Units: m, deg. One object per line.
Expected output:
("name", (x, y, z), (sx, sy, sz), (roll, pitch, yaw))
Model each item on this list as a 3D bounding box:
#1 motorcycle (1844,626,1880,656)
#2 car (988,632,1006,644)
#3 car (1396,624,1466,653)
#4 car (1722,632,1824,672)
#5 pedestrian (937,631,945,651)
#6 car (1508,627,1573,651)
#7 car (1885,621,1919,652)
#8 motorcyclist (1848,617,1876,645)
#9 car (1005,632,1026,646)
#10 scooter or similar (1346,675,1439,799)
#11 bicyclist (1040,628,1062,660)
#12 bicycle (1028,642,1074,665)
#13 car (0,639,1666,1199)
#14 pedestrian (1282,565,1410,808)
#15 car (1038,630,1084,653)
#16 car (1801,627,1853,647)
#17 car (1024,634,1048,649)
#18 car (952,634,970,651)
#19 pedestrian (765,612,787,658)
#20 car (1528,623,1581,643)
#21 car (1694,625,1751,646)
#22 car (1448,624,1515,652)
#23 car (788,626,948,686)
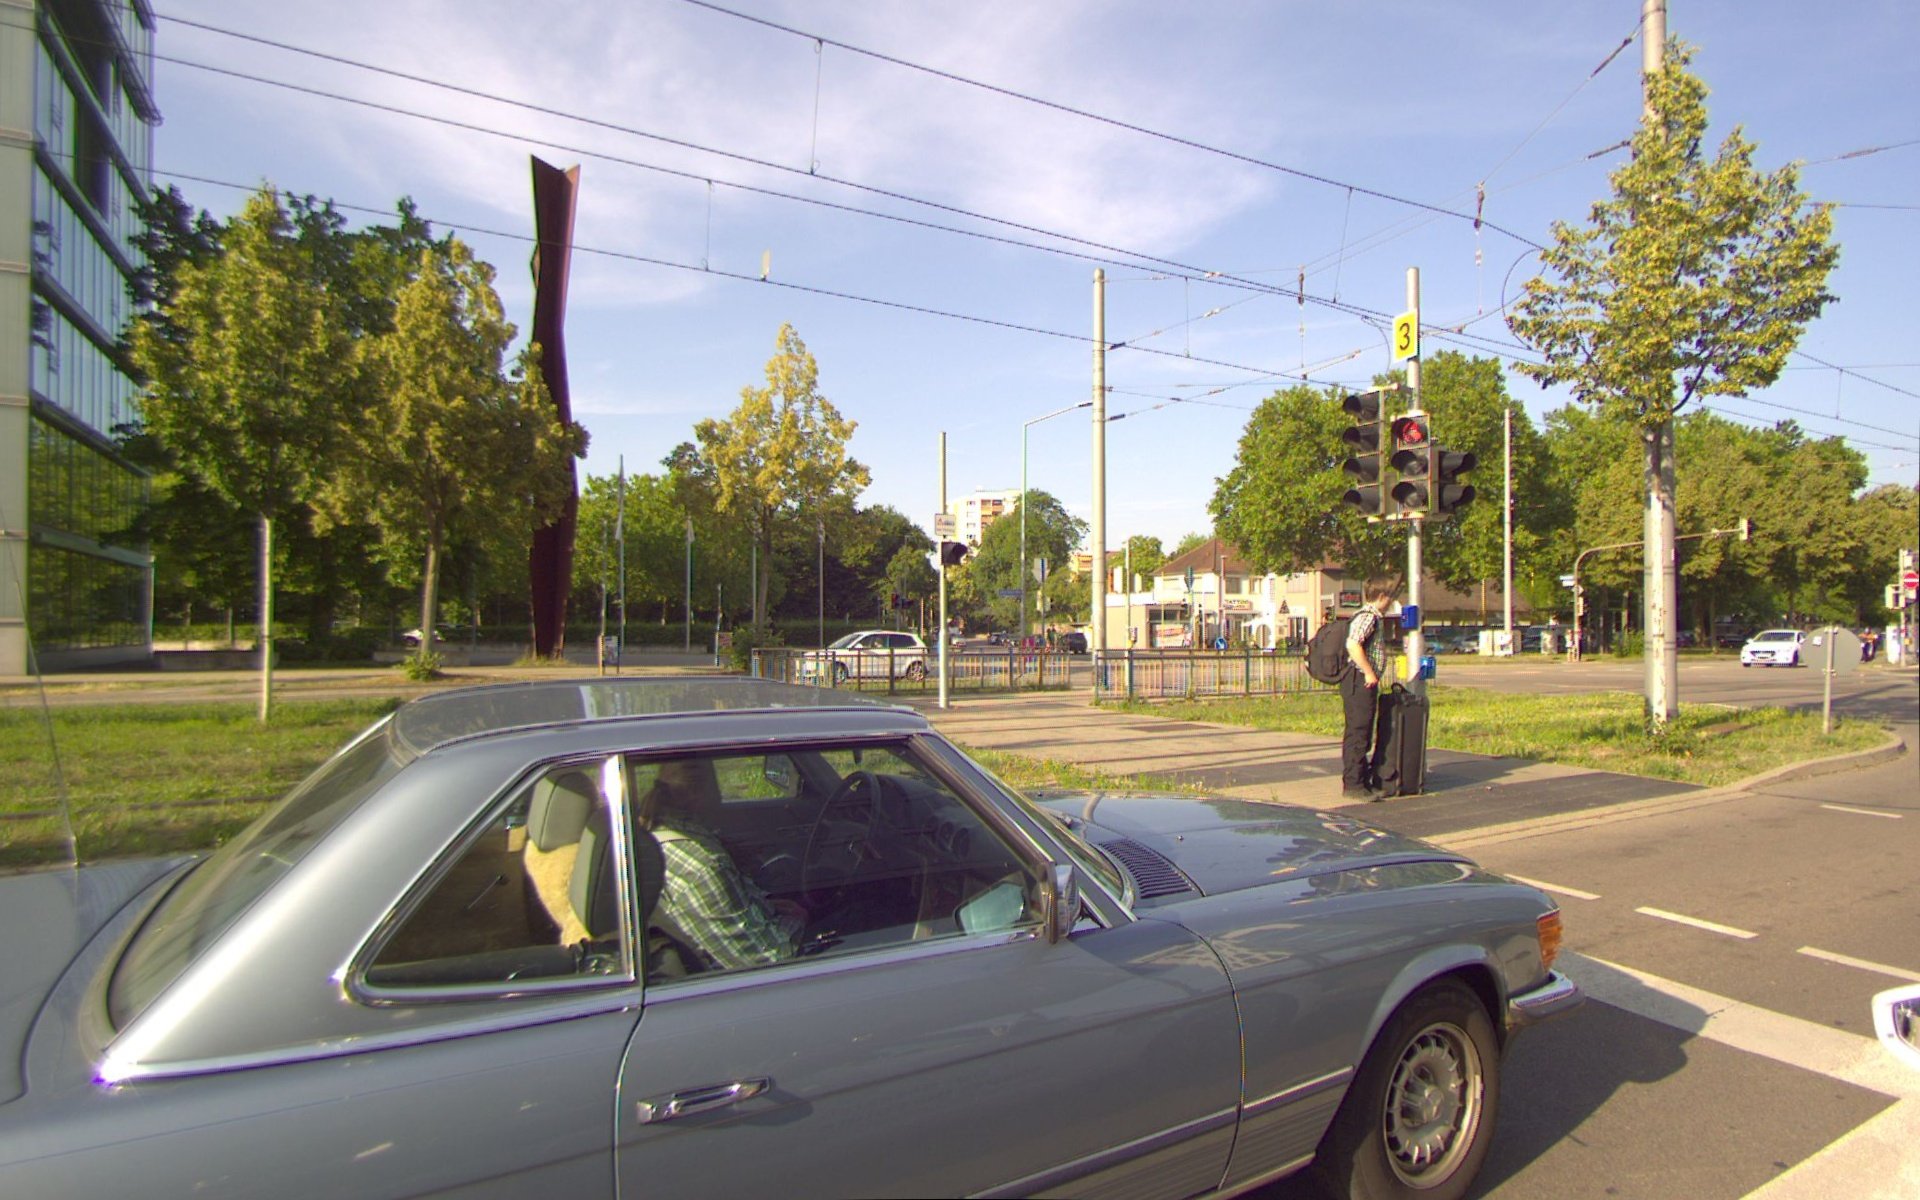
("motorcycle", (40.362, 1.814, 44.940), (2.527, 1.280, 0.812), (1, 0, -39))
("car", (4.535, 4.670, 123.704), (1.667, 1.491, 3.941), (0, -1, -7))
("car", (29.713, 2.443, 63.358), (3.945, 1.773, 1.876), (1, -2, -25))
("car", (32.739, 2.059, 40.437), (4.047, 1.524, 1.983), (1, -2, -32))
("pedestrian", (-1.567, 3.314, 81.183), (0.654, 1.654, 0.664), (0, -1, -2))
("car", (39.330, 2.616, 68.037), (3.945, 1.580, 1.876), (1, -2, -25))
("car", (48.440, 1.785, 50.367), (4.520, 1.480, 1.721), (0, -4, -30))
("motorcyclist", (40.162, 1.363, 44.742), (0.840, 1.219, 0.776), (0, 1, -37))
("car", (6.141, 4.339, 112.084), (1.667, 1.491, 3.941), (0, -1, -7))
("scooter or similar", (3.539, 1.102, 8.232), (0.424, 0.919, 0.546), (1, 0, -29))
("bicyclist", (4.348, 2.084, 47.984), (0.837, 1.512, 0.697), (-1, -1, 38))
("bicycle", (4.335, 2.547, 47.982), (2.168, 1.055, 0.697), (-1, -2, 38))
("car", (-0.339, 0.841, 2.437), (4.349, 1.348, 1.755), (0, 1, -31))
("pedestrian", (3.054, 0.651, 7.969), (0.628, 1.816, 0.696), (1, 0, -29))
("car", (7.976, 3.295, 79.494), (1.971, 1.750, 3.979), (1, -1, -22))
("car", (72.645, 3.096, 84.159), (3.945, 1.580, 1.876), (1, -2, -25))
("car", (7.601, 4.124, 100.569), (1.667, 1.491, 3.941), (0, -1, -7))
("car", (0.141, 4.786, 113.922), (1.961, 1.806, 4.000), (0, -1, -1))
("pedestrian", (-8.744, 1.661, 47.726), (0.864, 2.135, 0.724), (-1, -3, 0))
("car", (48.396, 2.660, 81.778), (3.945, 1.580, 1.876), (1, -2, -25))
("car", (59.140, 2.772, 77.919), (3.945, 1.580, 1.876), (1, -2, -25))
("car", (33.940, 2.477, 65.428), (3.945, 1.773, 1.876), (1, -2, -25))
("car", (-2.608, 1.538, 28.609), (4.173, 1.548, 1.868), (0, -1, -30))
